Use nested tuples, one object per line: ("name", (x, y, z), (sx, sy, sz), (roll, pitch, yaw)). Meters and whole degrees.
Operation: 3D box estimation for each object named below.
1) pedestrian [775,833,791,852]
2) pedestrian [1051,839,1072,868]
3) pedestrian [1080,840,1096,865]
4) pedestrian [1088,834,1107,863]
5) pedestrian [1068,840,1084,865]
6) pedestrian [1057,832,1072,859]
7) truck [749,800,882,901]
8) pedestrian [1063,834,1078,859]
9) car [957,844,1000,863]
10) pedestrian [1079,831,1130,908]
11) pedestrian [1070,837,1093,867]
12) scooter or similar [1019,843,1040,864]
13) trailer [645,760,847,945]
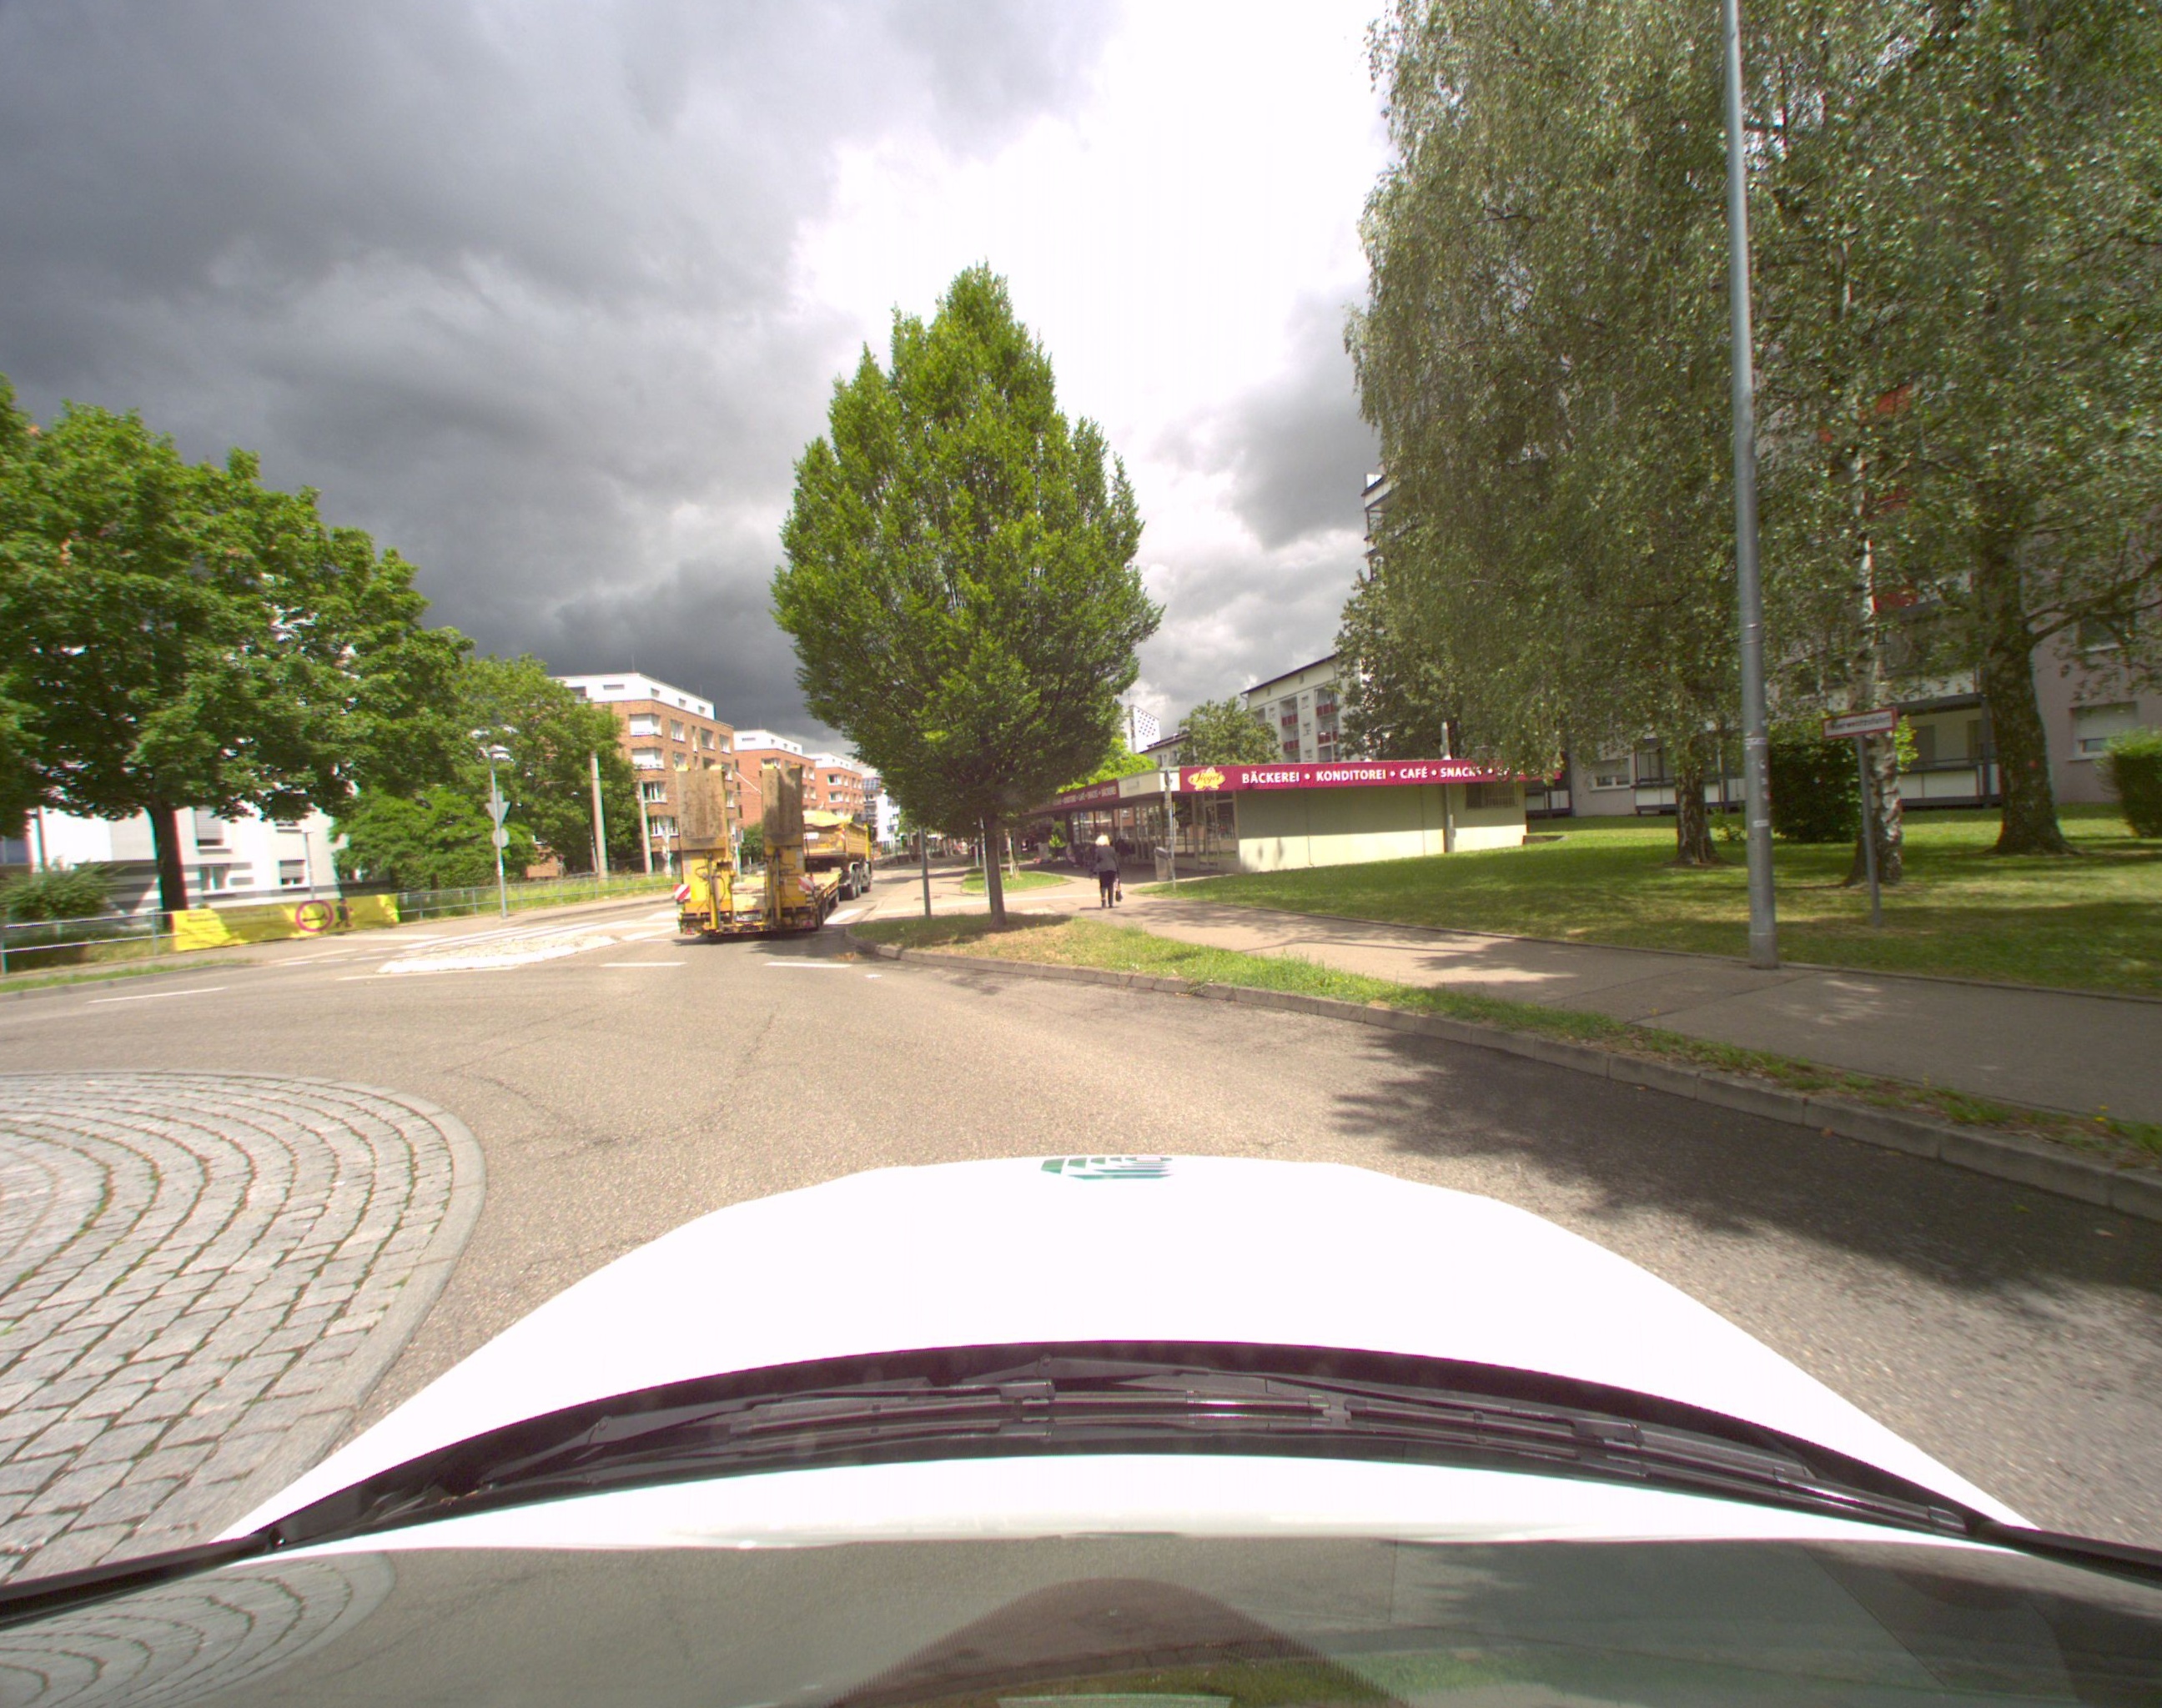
("pedestrian", (-32.077, -1.259, 87.597), (1.133, 2.013, 0.998), (-4, 1, 1))
("pedestrian", (-0.950, -0.029, 40.283), (0.877, 1.324, 0.609), (-5, 1, -7))
("pedestrian", (0.351, -0.100, 41.113), (0.716, 1.201, 0.698), (-4, 1, -1))
("pedestrian", (0.821, -0.274, 39.862), (0.717, 1.380, 0.697), (-5, 1, -8))
("pedestrian", (-0.258, -0.063, 41.186), (0.716, 1.201, 0.698), (-4, 1, -1))
("pedestrian", (-1.034, -0.527, 50.489), (0.697, 1.573, 0.555), (-5, 1, -11))
("truck", (-9.574, -0.176, 30.444), (2.986, 3.034, 8.463), (-5, 1, -8))
("pedestrian", (-0.656, -0.452, 49.981), (0.697, 1.488, 0.555), (-5, 1, -11))
("car", (-10.060, -0.069, 80.302), (3.978, 1.511, 1.999), (-3, 4, -3))
("pedestrian", (0.488, 0.317, 17.332), (0.871, 1.518, 0.802), (-5, 3, -8))
("pedestrian", (0.018, -0.107, 39.585), (0.879, 1.324, 0.819), (-5, 4, -15))
("scooter or similar", (-3.360, -0.050, 53.326), (0.513, 1.226, 1.742), (-3, 3, 25))
("trailer", (-7.861, -0.079, 20.810), (2.867, 3.372, 10.792), (-3, 1, -13))
